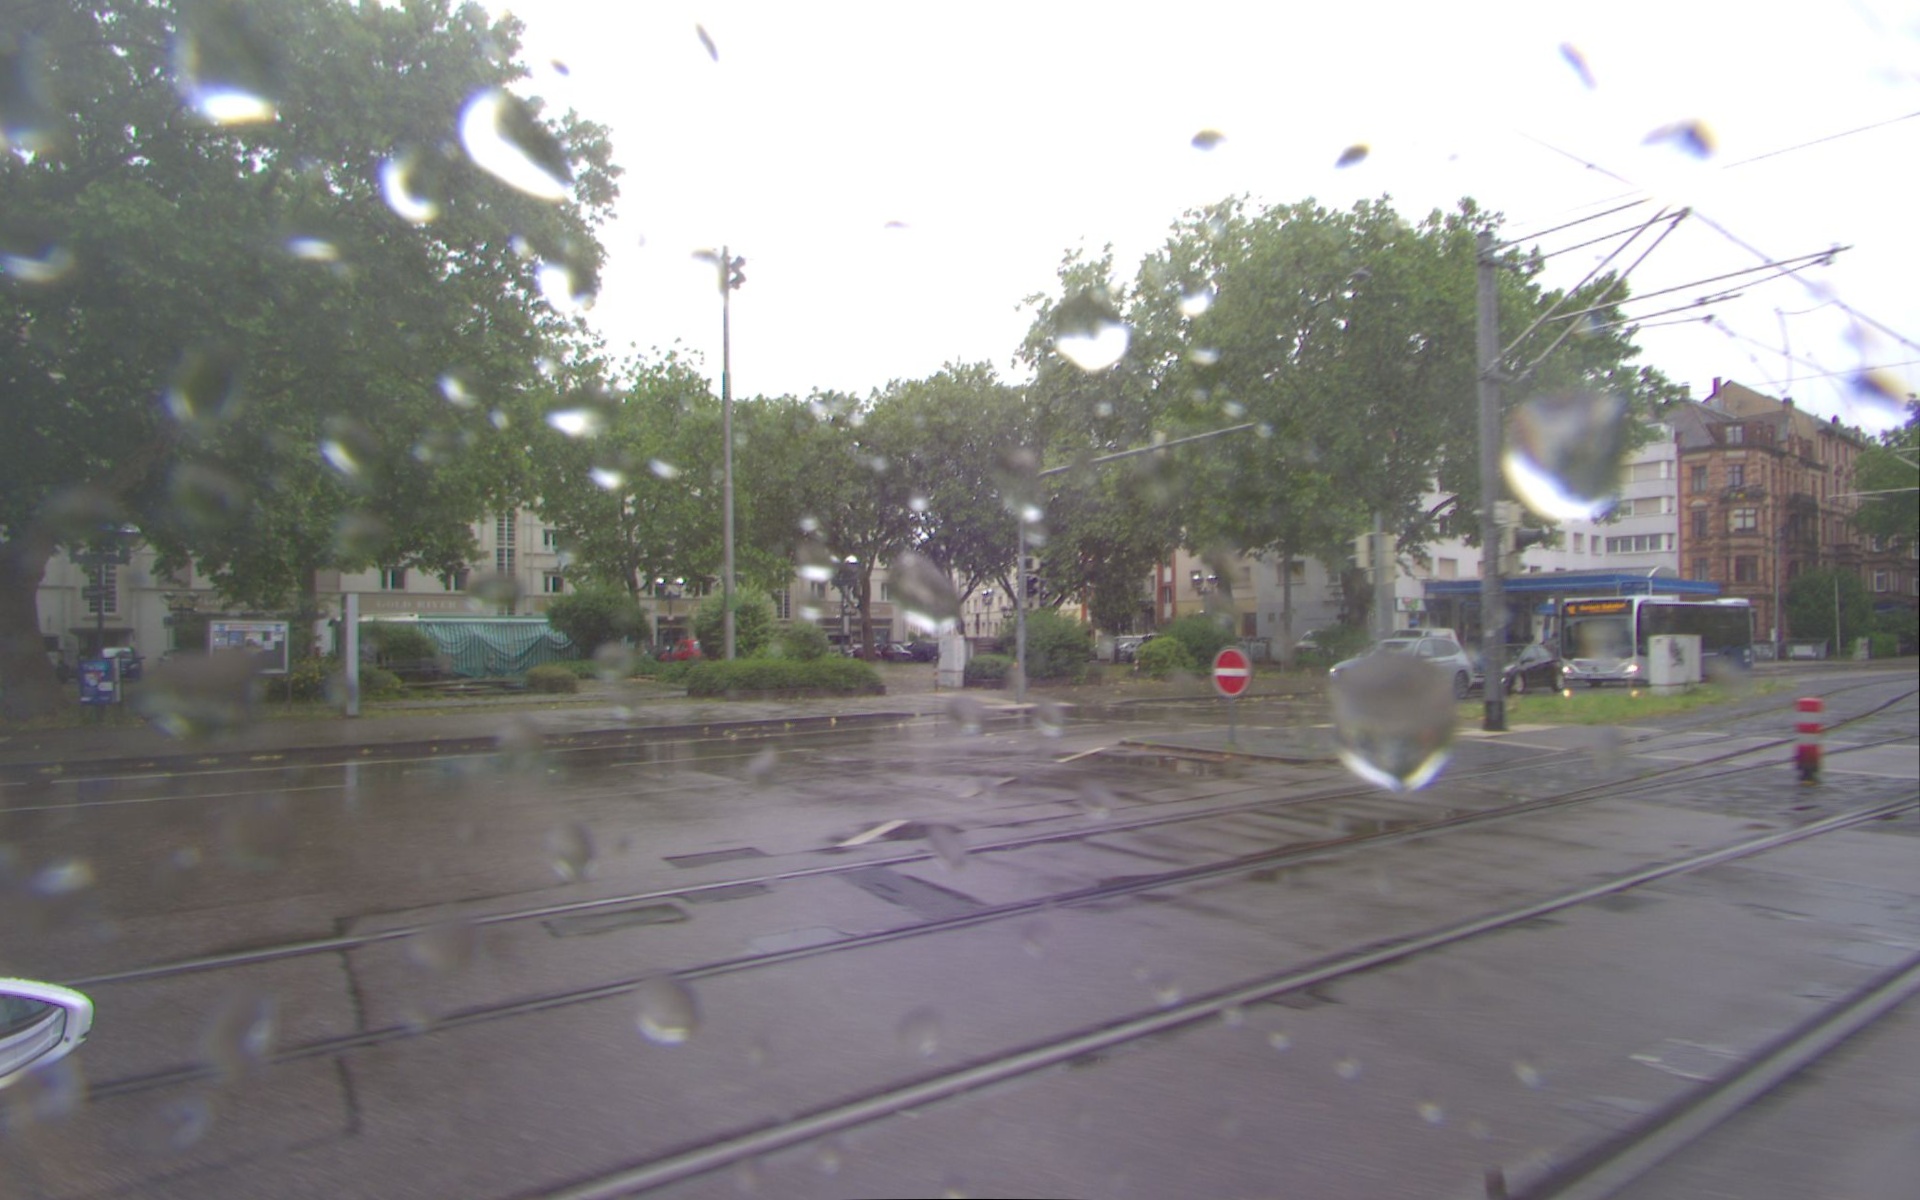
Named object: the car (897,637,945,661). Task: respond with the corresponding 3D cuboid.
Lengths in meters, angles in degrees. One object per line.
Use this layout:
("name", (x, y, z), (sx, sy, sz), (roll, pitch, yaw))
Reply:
("car", (-2.885, 3.601, 73.024), (1.694, 1.637, 3.977), (2, -4, -34))

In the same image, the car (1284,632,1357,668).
("car", (18.930, 2.603, 52.558), (4.214, 1.801, 1.724), (1, -2, -40))

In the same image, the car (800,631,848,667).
("car", (-9.247, 3.346, 67.944), (1.534, 2.230, 4.075), (1, -4, -34))

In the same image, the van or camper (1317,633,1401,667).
("van or camper", (20.026, 2.463, 50.213), (4.619, 1.619, 1.984), (2, -2, -40))

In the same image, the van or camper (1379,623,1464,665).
("van or camper", (22.489, 2.133, 48.691), (4.619, 1.939, 1.984), (1, -2, -40))

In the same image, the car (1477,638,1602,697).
("car", (17.262, 1.947, 29.786), (4.128, 1.620, 1.766), (1, -2, -37))

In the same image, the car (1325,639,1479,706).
("car", (11.697, 1.845, 26.379), (4.500, 1.620, 1.779), (1, -2, -37))

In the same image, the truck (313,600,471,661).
("truck", (-26.988, 1.479, 47.727), (6.327, 2.733, 2.251), (1, -3, -39))

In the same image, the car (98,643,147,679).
("car", (-38.861, 2.821, 46.527), (1.666, 1.594, 3.708), (1, -3, -39))

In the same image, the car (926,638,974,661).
("car", (-0.786, 3.768, 75.559), (1.694, 1.637, 3.977), (2, -4, -34))

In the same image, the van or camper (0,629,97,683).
("van or camper", (-41.008, 2.489, 45.105), (2.371, 2.259, 5.401), (1, -3, -32))

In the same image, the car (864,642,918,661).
("car", (-4.896, 3.629, 70.864), (1.976, 1.223, 3.971), (1, -2, -37))

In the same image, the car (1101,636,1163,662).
("car", (11.078, 3.129, 64.361), (3.850, 1.571, 1.815), (1, -2, -38))

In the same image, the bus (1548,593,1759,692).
("bus", (25.790, 1.524, 36.878), (11.958, 3.153, 2.872), (2, -2, -37))

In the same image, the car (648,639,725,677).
("car", (-11.837, 2.468, 43.174), (1.652, 1.541, 3.643), (1, -3, -44))

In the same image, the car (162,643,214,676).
("car", (-37.043, 2.892, 48.129), (1.663, 1.449, 3.717), (1, -5, -33))

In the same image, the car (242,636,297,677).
("car", (-34.204, 2.817, 49.649), (2.134, 1.860, 3.977), (1, -4, -35))
